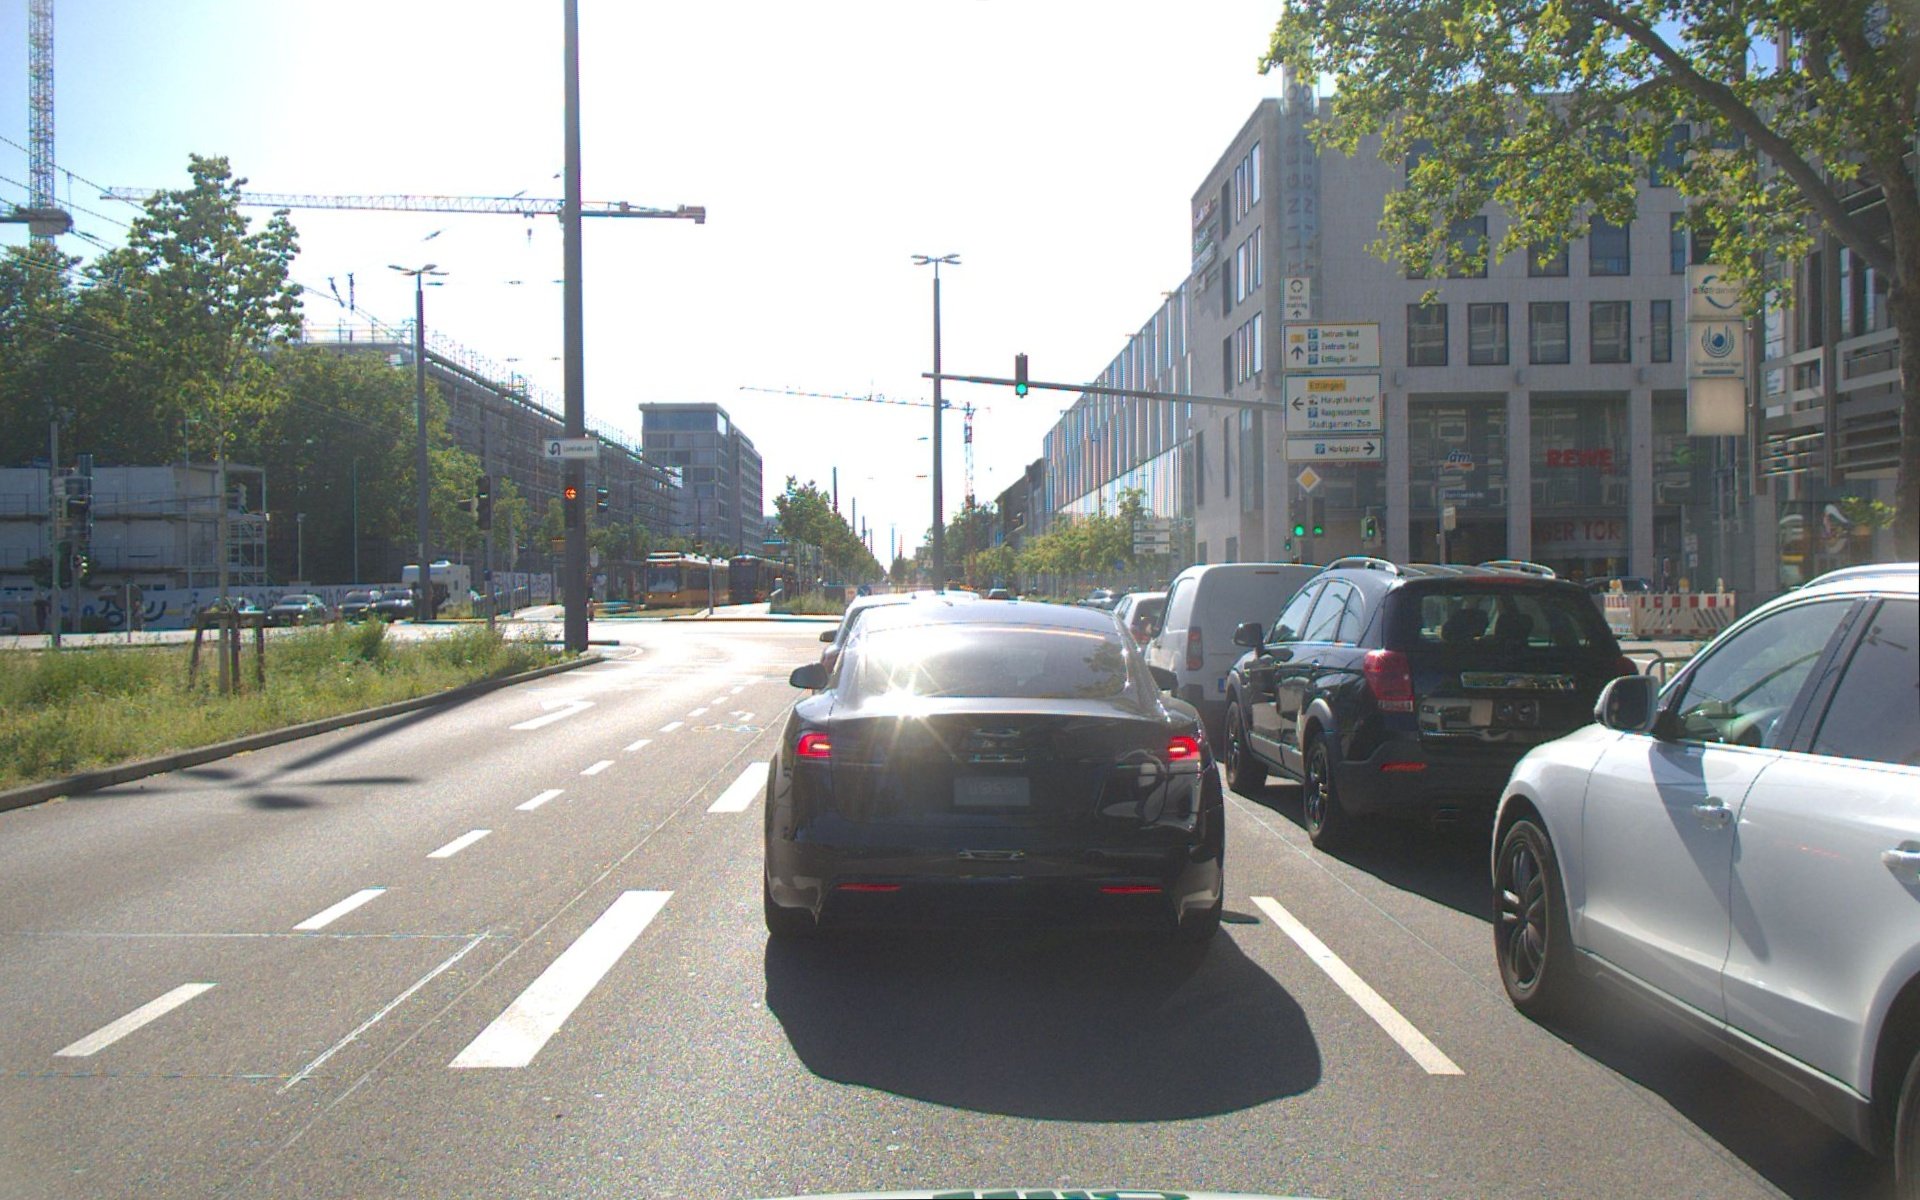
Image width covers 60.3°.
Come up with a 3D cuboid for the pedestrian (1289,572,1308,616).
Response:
[{"bbox_3d":[11.556,-0.200,56.501,0.550,1.466,0.632,1,-1,6],"label":"pedestrian"}]

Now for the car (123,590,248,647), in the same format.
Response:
[{"bbox_3d":[-17.459,0.415,37.399,1.348,1.199,3.219,1,0,-2],"label":"car"}]

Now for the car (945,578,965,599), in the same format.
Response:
[{"bbox_3d":[-0.535,-1.138,166.355,1.953,2.049,3.999,1,0,-1],"label":"car"}]

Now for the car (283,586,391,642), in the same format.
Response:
[{"bbox_3d":[-14.451,0.322,38.505,1.348,1.199,3.219,1,0,-2],"label":"car"}]

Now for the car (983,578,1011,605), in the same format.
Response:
[{"bbox_3d":[2.880,-0.662,129.041,1.953,2.049,3.999,1,0,-1],"label":"car"}]

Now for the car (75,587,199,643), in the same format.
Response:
[{"bbox_3d":[-19.157,0.344,38.625,1.348,1.199,3.219,1,0,-2],"label":"car"}]

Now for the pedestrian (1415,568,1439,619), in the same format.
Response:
[{"bbox_3d":[13.637,-0.183,48.301,0.550,1.466,0.632,1,-1,6],"label":"pedestrian"}]

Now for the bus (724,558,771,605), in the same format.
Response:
[{"bbox_3d":[-14.745,-1.221,115.373,2.576,3.011,9.891,1,0,-4],"label":"bus"}]

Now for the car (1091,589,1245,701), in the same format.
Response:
[{"bbox_3d":[2.947,0.584,24.224,1.686,1.456,4.186,0,1,-1],"label":"car"}]

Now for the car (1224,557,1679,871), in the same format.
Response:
[{"bbox_3d":[2.990,0.583,11.012,1.687,1.682,4.185,0,1,-2],"label":"car"}]

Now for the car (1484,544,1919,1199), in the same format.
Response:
[{"bbox_3d":[2.912,0.686,4.481,1.686,1.646,4.186,0,1,0],"label":"car"}]

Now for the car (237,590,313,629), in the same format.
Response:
[{"bbox_3d":[-30.385,0.410,73.495,1.800,1.641,3.894,1,0,-2],"label":"car"}]

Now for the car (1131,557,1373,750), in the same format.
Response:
[{"bbox_3d":[2.981,0.477,17.752,1.687,1.813,4.184,0,1,-3],"label":"car"}]

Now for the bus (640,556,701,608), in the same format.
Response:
[{"bbox_3d":[-17.156,-1.001,98.487,2.576,2.832,8.837,1,0,-4],"label":"bus"}]

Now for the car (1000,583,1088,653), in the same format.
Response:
[{"bbox_3d":[1.819,0.357,36.799,1.686,1.456,4.186,0,1,-1],"label":"car"}]

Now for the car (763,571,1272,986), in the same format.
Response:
[{"bbox_3d":[0.152,0.627,8.104,1.873,1.512,4.008,0,1,-2],"label":"car"}]
